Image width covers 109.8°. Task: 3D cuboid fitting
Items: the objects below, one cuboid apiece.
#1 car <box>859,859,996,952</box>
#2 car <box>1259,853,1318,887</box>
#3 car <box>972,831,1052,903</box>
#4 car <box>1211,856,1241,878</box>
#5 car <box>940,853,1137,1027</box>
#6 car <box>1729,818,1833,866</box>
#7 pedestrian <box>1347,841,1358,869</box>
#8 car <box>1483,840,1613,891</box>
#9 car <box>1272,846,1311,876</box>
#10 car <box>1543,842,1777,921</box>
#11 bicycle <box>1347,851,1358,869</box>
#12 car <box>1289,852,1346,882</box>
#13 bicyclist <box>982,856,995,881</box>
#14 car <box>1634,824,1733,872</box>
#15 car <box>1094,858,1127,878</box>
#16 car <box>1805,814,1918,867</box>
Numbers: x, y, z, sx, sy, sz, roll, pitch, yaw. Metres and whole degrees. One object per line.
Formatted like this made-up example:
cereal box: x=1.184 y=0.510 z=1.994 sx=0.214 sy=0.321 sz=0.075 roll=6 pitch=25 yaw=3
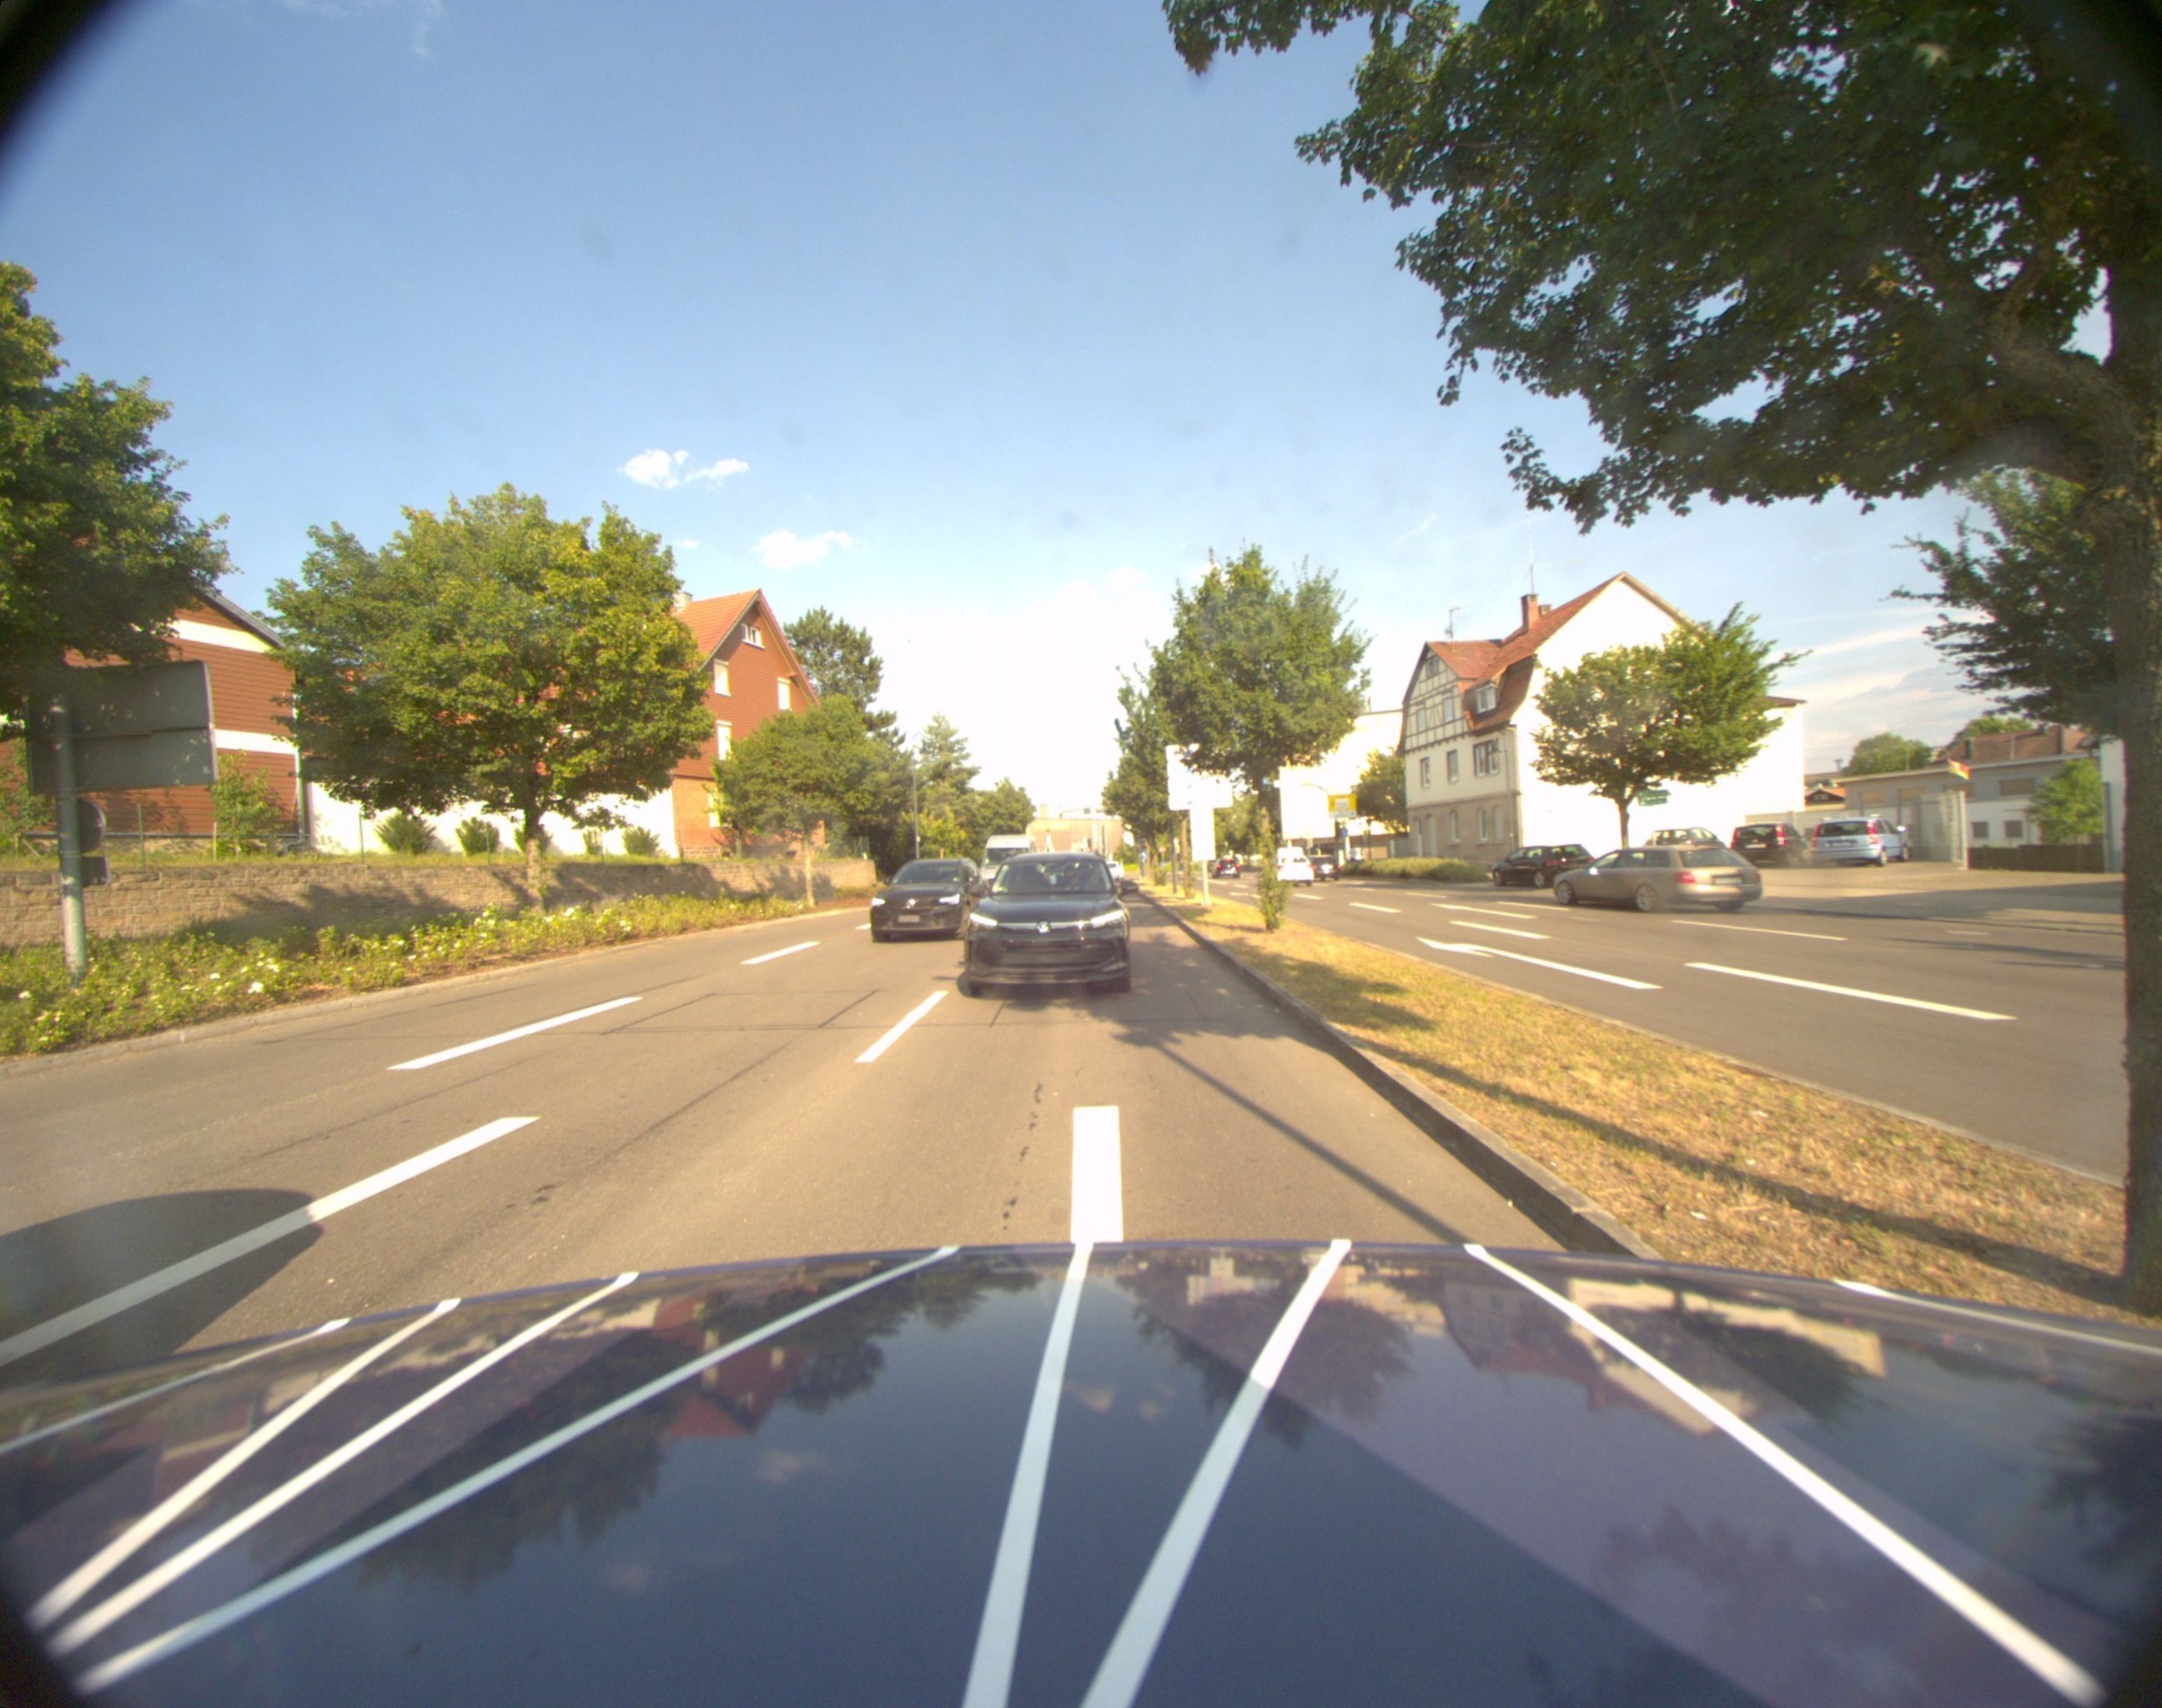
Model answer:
car: x=-3.063 y=0.969 z=16.053 sx=1.886 sy=1.599 sz=4.128 roll=-2 pitch=0 yaw=2
car: x=9.820 y=0.714 z=36.244 sx=1.805 sy=1.488 sz=3.955 roll=-2 pitch=0 yaw=1
car: x=-2.615 y=0.469 z=30.592 sx=2.370 sy=2.532 sz=6.193 roll=-2 pitch=0 yaw=2
car: x=10.585 y=0.940 z=55.705 sx=1.773 sy=1.442 sz=4.110 roll=-2 pitch=0 yaw=7
car: x=-0.366 y=0.859 z=9.896 sx=1.894 sy=1.647 sz=4.730 roll=-2 pitch=0 yaw=1
car: x=24.772 y=-0.428 z=26.866 sx=4.006 sy=1.543 sz=1.763 roll=-2 pitch=0 yaw=-33
pedestrian: x=19.449 y=0.082 z=54.450 sx=0.698 sy=1.971 sz=0.589 roll=-2 pitch=1 yaw=18
car: x=15.904 y=0.362 z=26.165 sx=1.839 sy=1.435 sz=4.195 roll=-5 pitch=0 yaw=1
car: x=14.499 y=0.419 z=52.653 sx=1.826 sy=1.912 sz=4.947 roll=-2 pitch=0 yaw=7
car: x=12.613 y=0.520 z=17.025 sx=1.690 sy=1.454 sz=4.711 roll=-2 pitch=0 yaw=1
bicycle: x=19.803 y=0.443 z=55.469 sx=0.680 sy=1.215 sz=1.516 roll=-2 pitch=0 yaw=18
car: x=12.896 y=0.644 z=41.638 sx=1.811 sy=1.488 sz=4.245 roll=-2 pitch=0 yaw=1
bicyclist: x=-6.407 y=0.998 z=52.659 sx=0.603 sy=1.668 sz=0.735 roll=-2 pitch=1 yaw=14
car: x=23.267 y=-0.244 z=29.323 sx=4.006 sy=1.543 sz=1.764 roll=-4 pitch=1 yaw=-33
car: x=2.297 y=1.083 z=58.567 sx=1.764 sy=1.346 sz=4.135 roll=-2 pitch=0 yaw=12
car: x=24.954 y=-0.436 z=24.262 sx=4.006 sy=1.543 sz=1.763 roll=-2 pitch=0 yaw=-33
